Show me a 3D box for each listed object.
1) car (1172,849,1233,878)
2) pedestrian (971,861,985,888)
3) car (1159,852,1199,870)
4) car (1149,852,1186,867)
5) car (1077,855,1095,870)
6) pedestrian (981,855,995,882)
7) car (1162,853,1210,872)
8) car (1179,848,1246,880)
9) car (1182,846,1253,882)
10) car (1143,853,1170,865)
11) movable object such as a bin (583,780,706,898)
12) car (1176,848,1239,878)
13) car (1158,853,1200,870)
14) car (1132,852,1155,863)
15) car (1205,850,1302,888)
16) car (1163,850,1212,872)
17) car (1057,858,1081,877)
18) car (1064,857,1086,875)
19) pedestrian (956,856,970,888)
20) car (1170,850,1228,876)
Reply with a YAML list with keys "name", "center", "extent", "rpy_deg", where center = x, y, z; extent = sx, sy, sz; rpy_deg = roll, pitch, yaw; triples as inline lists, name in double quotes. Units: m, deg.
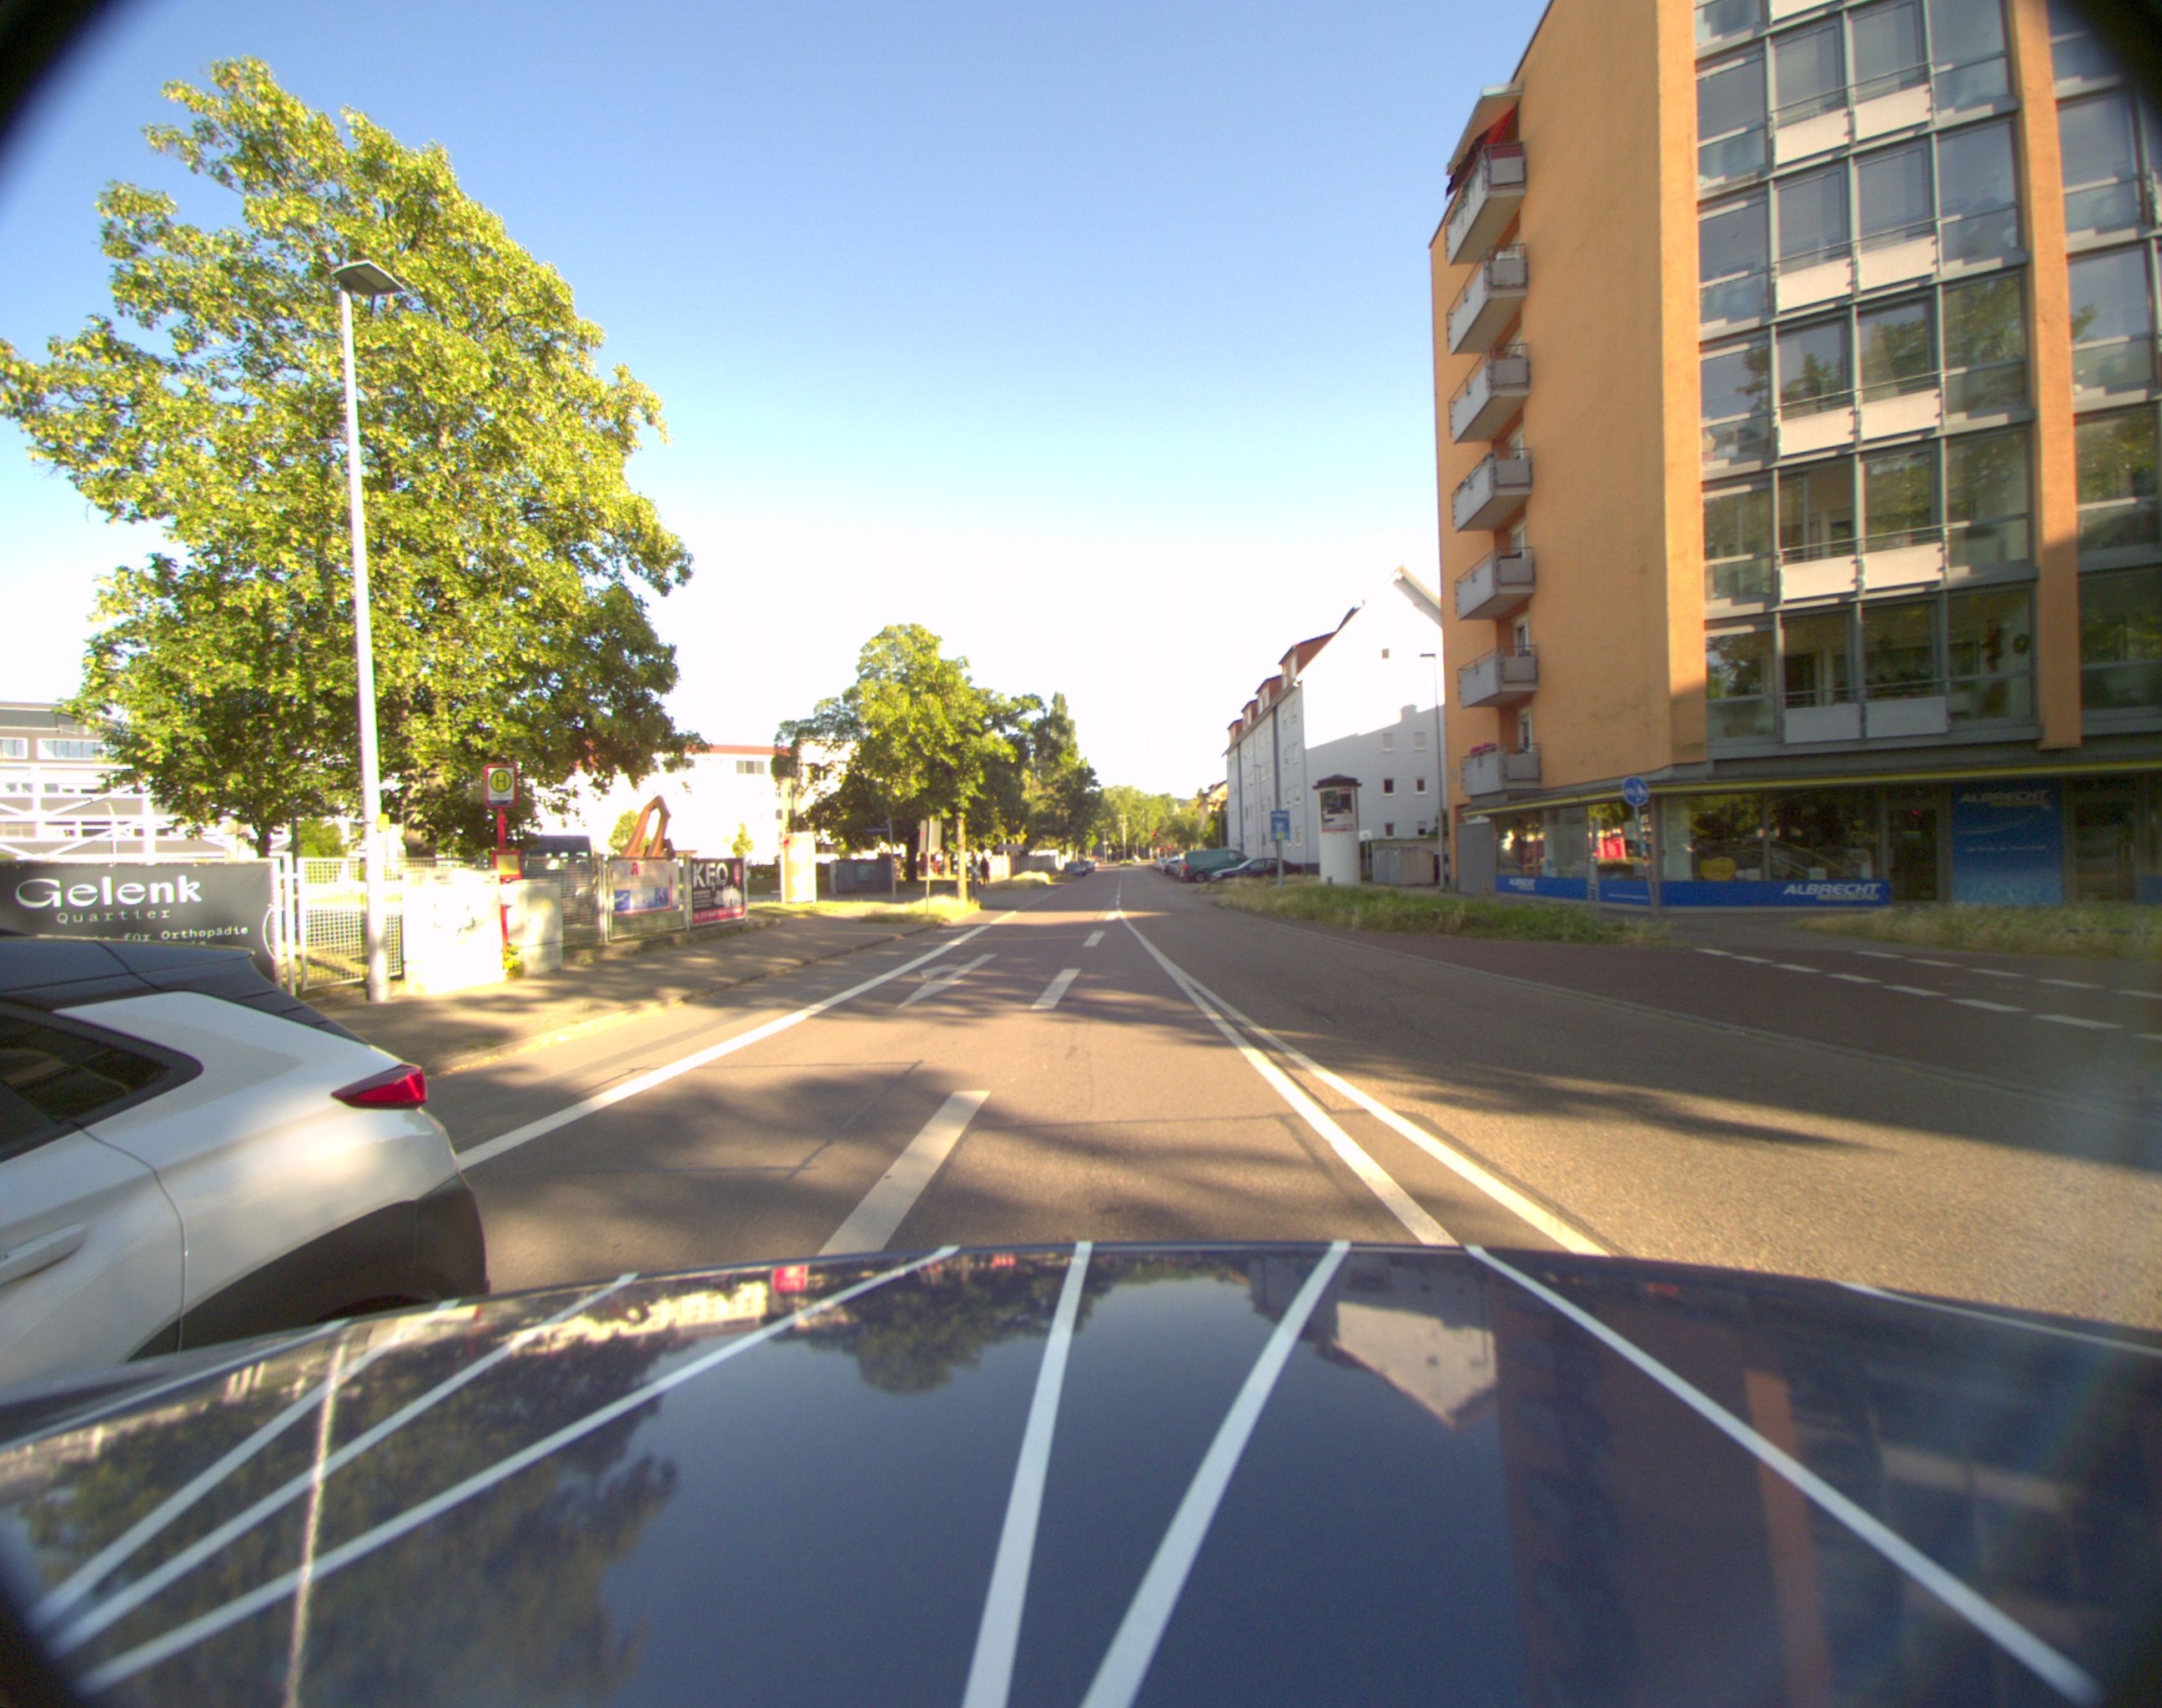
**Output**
- name: "car"
  center: [8.562, 0.658, 53.697]
  extent: [4.059, 1.805, 1.937]
  rpy_deg: [-2, 1, 5]
- name: "pedestrian"
  center: [-5.637, 1.128, 41.496]
  extent: [0.609, 1.426, 0.639]
  rpy_deg: [-2, 1, 1]
- name: "car"
  center: [10.249, 0.713, 80.070]
  extent: [4.071, 1.741, 1.899]
  rpy_deg: [-2, 1, 5]
- name: "car"
  center: [10.212, 0.633, 90.193]
  extent: [4.257, 1.564, 1.867]
  rpy_deg: [-2, 1, 5]
- name: "car"
  center: [0.558, 0.939, 87.980]
  extent: [1.998, 1.521, 3.999]
  rpy_deg: [-2, 1, 1]
- name: "pedestrian"
  center: [-5.851, 0.918, 47.811]
  extent: [0.696, 1.659, 0.639]
  rpy_deg: [-2, 1, 1]
- name: "car"
  center: [9.558, 0.762, 69.378]
  extent: [4.257, 1.564, 1.867]
  rpy_deg: [-2, 1, 5]
- name: "car"
  center: [8.347, 0.614, 48.590]
  extent: [3.995, 1.805, 2.000]
  rpy_deg: [-2, 1, 5]
- name: "car"
  center: [8.185, 0.585, 45.942]
  extent: [3.996, 1.936, 2.000]
  rpy_deg: [-2, 1, 4]
- name: "car"
  center: [10.455, 0.690, 105.246]
  extent: [3.538, 1.564, 1.867]
  rpy_deg: [-2, 1, 5]
- name: "movable object such as a bin"
  center: [-22.238, -0.706, 38.551]
  extent: [3.986, 5.447, 6.016]
  rpy_deg: [-3, 1, -42]
- name: "car"
  center: [8.491, 0.578, 51.346]
  extent: [3.995, 1.805, 2.000]
  rpy_deg: [-2, 1, 5]
- name: "car"
  center: [10.297, 0.744, 79.935]
  extent: [4.257, 1.564, 1.867]
  rpy_deg: [-2, 1, 5]
- name: "car"
  center: [9.690, 0.574, 118.226]
  extent: [3.538, 1.564, 1.867]
  rpy_deg: [-2, 1, 5]
- name: "car"
  center: [8.289, 0.723, 36.877]
  extent: [4.423, 1.652, 2.001]
  rpy_deg: [-2, 1, 9]
- name: "car"
  center: [9.265, 0.598, 66.491]
  extent: [4.117, 1.762, 1.757]
  rpy_deg: [-2, 1, 5]
- name: "car"
  center: [-1.100, 1.209, 69.599]
  extent: [1.998, 1.521, 3.999]
  rpy_deg: [-2, 1, 1]
- name: "car"
  center: [-0.597, 1.141, 73.946]
  extent: [1.998, 1.521, 3.999]
  rpy_deg: [-2, 1, 1]
- name: "pedestrian"
  center: [-6.473, 0.968, 41.716]
  extent: [0.609, 1.727, 0.638]
  rpy_deg: [-2, 1, -5]
- name: "car"
  center: [8.738, 0.653, 56.441]
  extent: [4.071, 1.741, 1.899]
  rpy_deg: [-2, 1, 5]
